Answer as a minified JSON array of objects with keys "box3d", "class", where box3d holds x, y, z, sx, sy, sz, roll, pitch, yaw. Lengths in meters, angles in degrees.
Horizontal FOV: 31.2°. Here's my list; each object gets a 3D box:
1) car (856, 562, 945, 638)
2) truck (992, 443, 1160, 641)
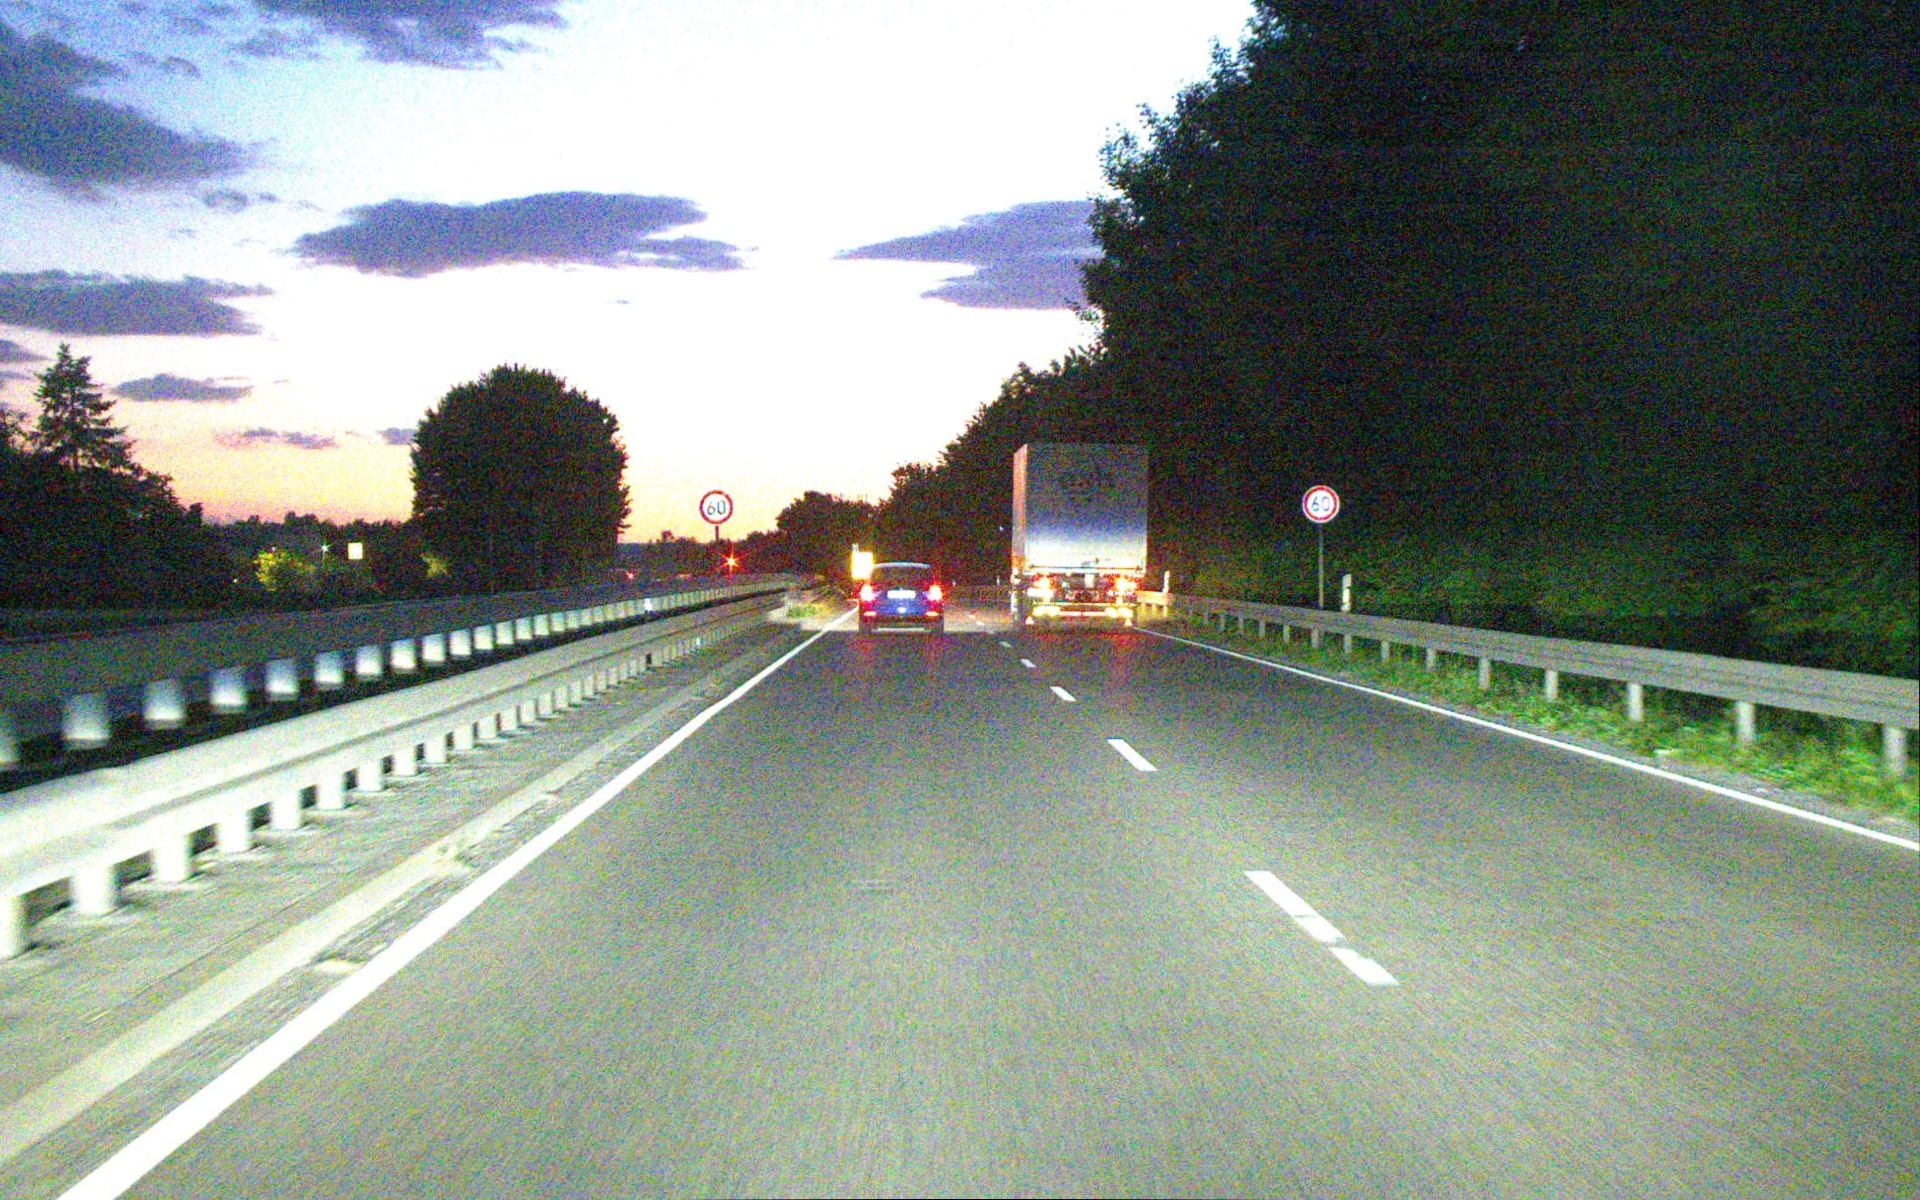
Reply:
[{"box3d":[-1.218,-0.024,69.106,1.695,1.447,3.915,0,1,-2],"class":"car"},{"box3d":[2.476,-1.294,77.853,2.883,4.092,12.685,0,1,-2],"class":"truck"}]
